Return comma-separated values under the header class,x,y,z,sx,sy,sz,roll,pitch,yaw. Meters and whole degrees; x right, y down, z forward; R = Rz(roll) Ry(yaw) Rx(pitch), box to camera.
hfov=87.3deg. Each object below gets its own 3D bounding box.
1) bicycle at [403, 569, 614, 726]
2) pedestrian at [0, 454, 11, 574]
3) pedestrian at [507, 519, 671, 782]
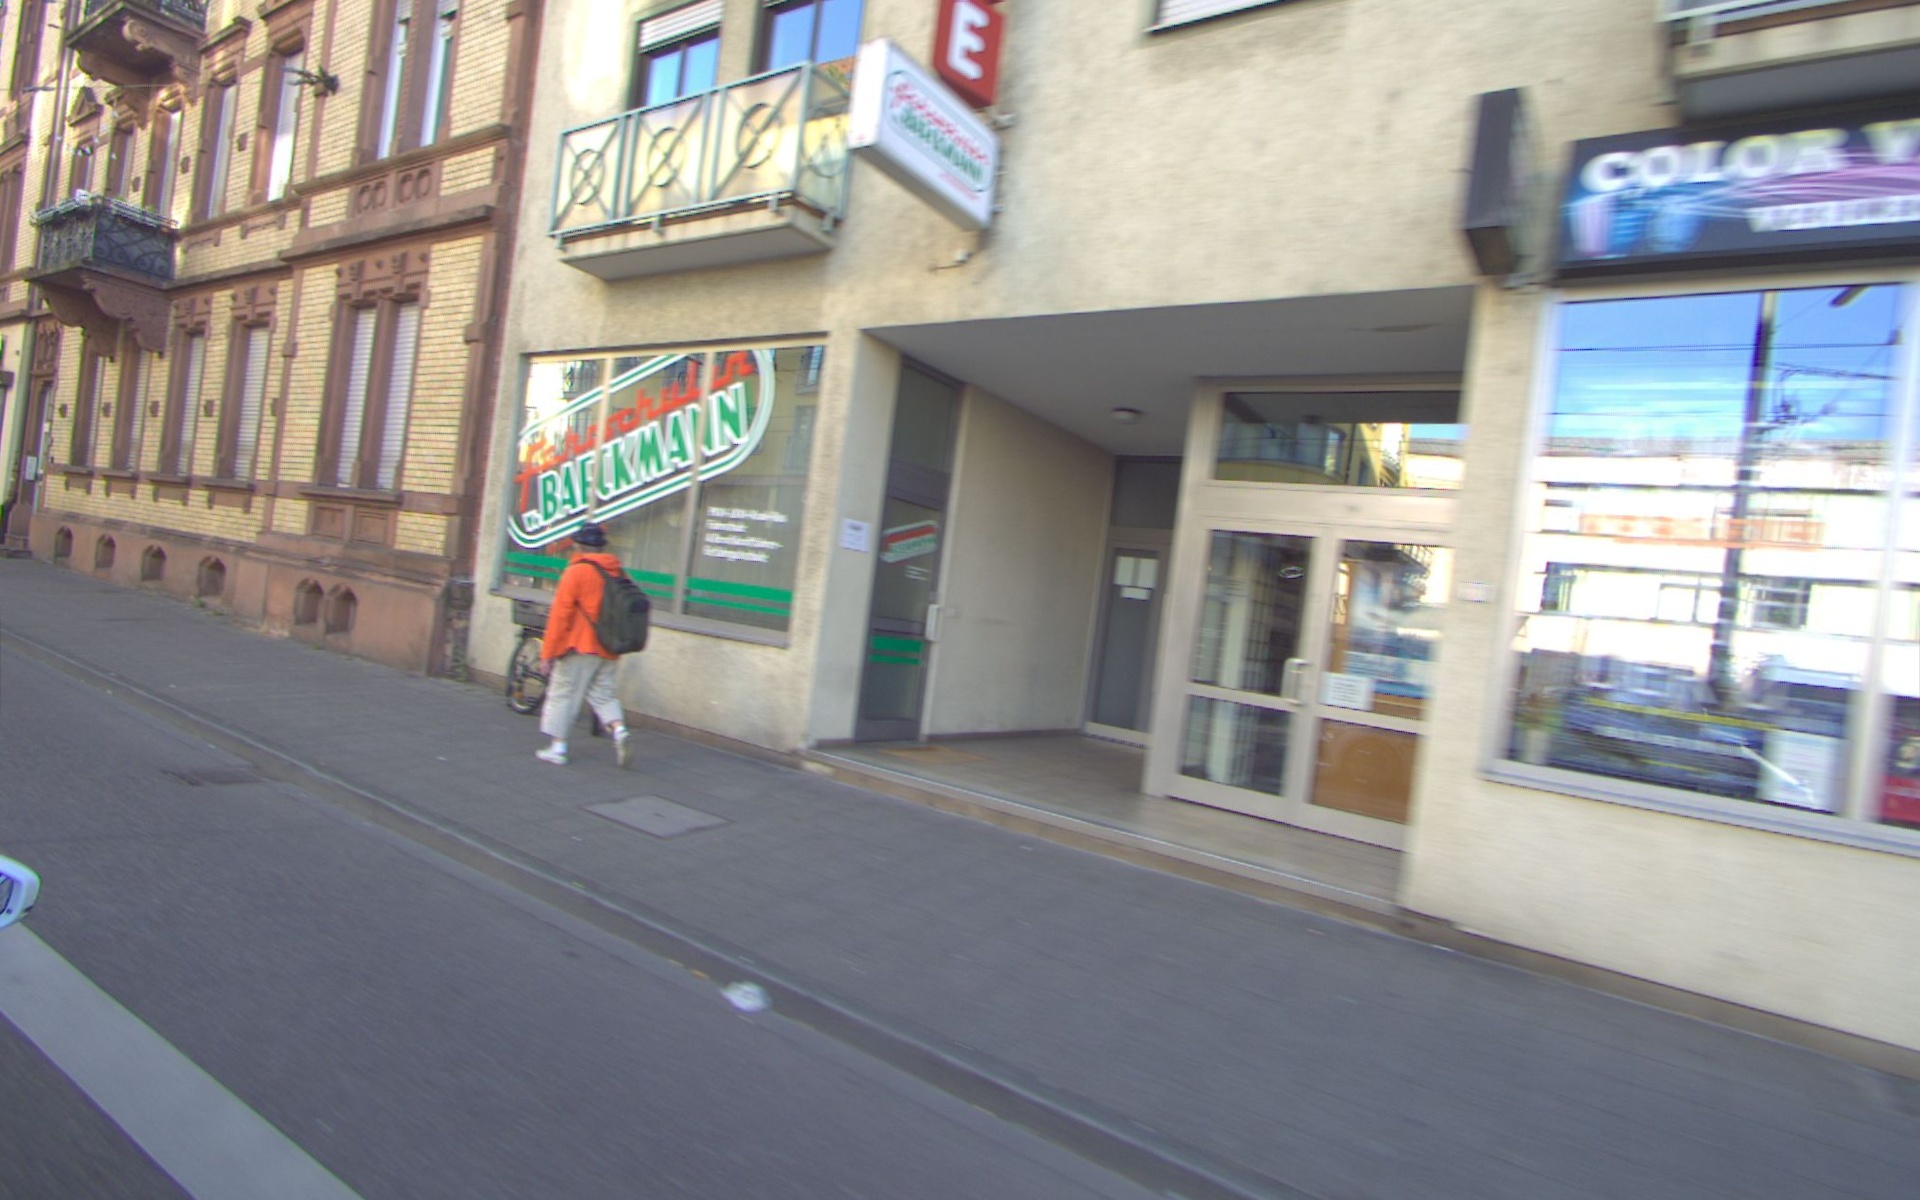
class,x,y,z,sx,sy,sz,roll,pitch,yaw
bicycle,-4.025,0.376,8.859,2.275,1.074,0.555,7,1,36
pedestrian,-15.286,-1.376,15.419,1.074,1.824,0.805,8,3,33
pedestrian,-2.557,0.315,6.901,0.792,1.651,0.817,2,5,-36
